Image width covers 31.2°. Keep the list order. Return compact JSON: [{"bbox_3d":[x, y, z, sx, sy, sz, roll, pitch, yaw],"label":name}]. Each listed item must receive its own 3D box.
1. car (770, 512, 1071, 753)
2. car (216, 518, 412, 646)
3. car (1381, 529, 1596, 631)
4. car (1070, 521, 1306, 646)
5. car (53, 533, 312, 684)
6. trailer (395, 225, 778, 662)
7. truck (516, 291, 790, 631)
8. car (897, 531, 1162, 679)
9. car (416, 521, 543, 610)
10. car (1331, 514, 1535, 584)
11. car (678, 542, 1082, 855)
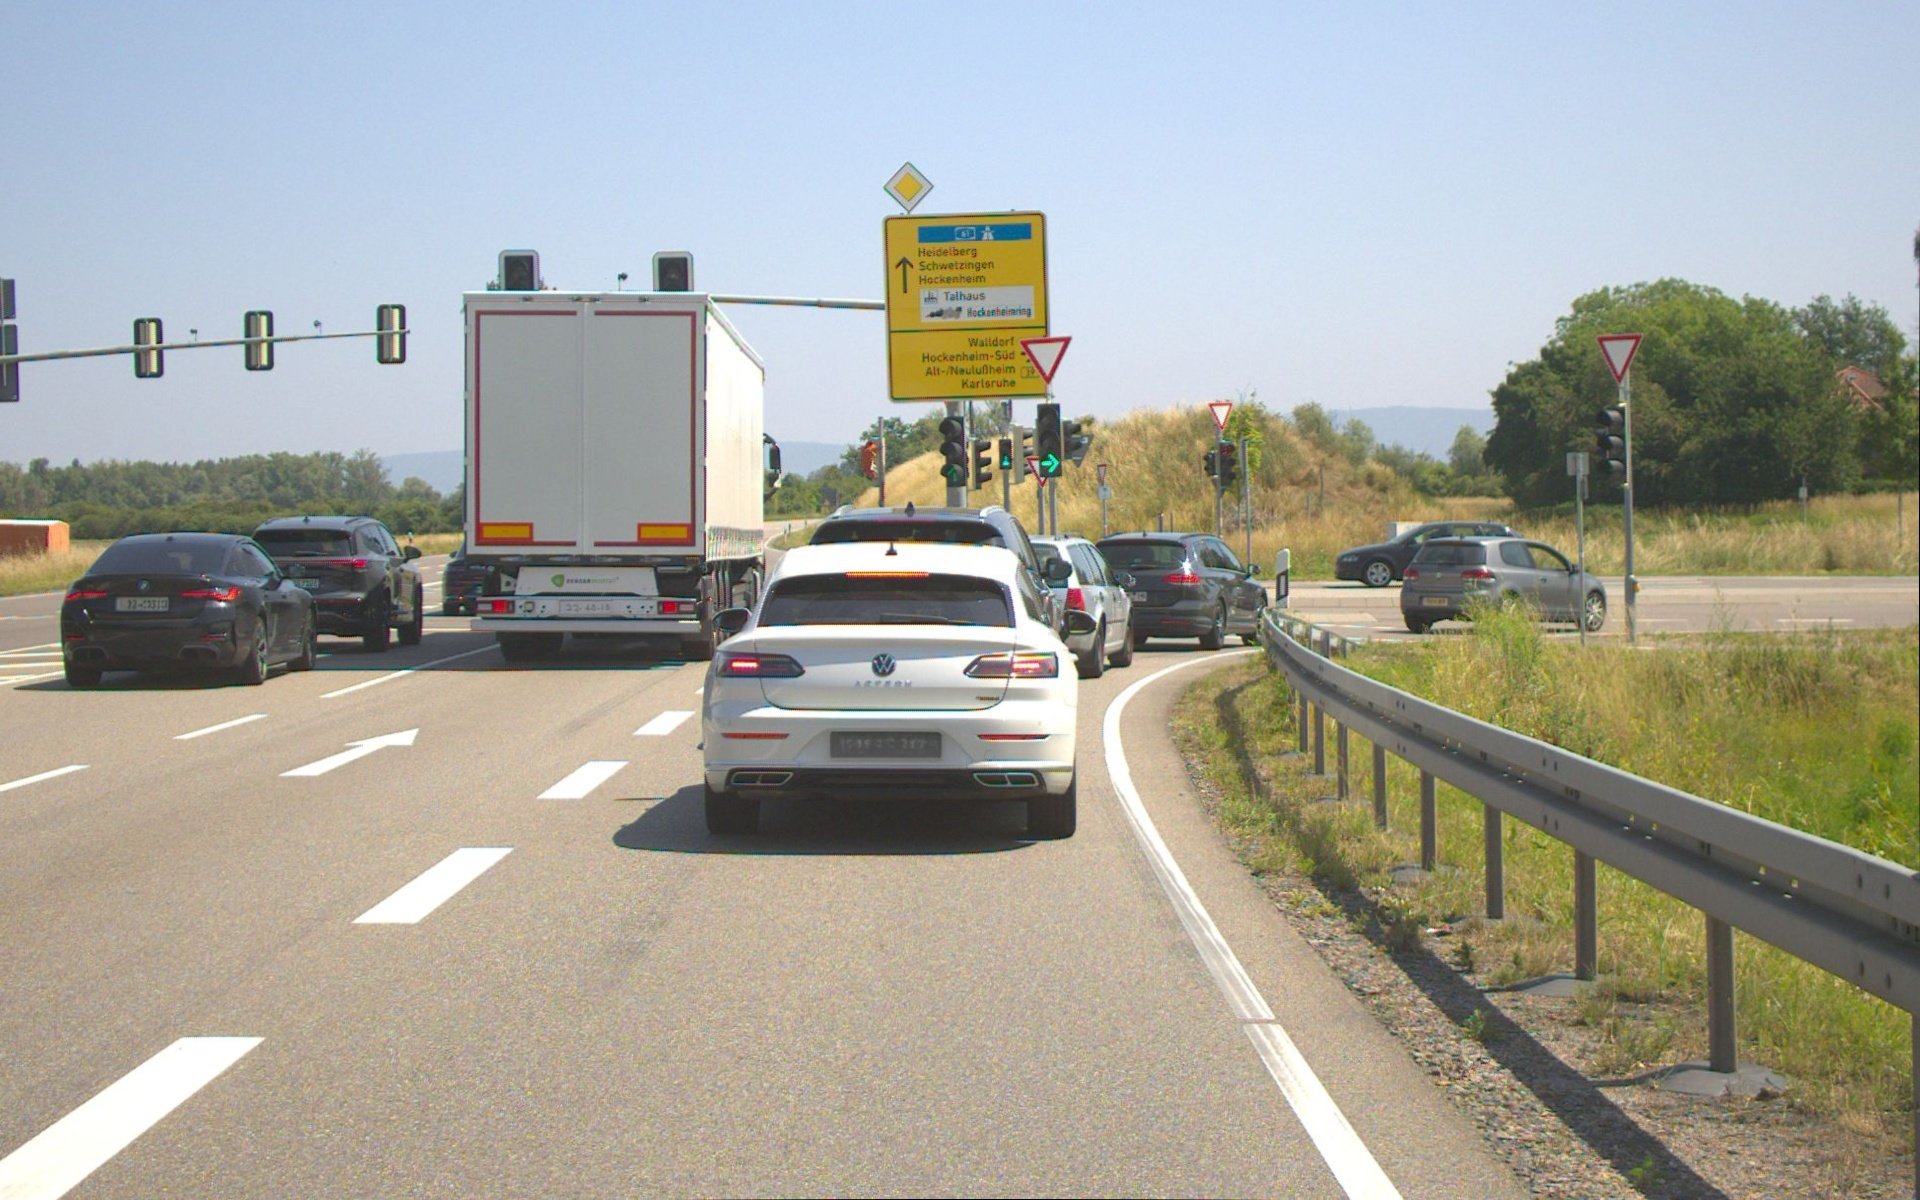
[{"bbox_3d":[-0.197,0.181,25.223,1.935,1.611,4.378,0,1,3],"label":"car"},{"bbox_3d":[-7.923,-0.249,42.462,1.809,1.488,4.022,0,1,-2],"label":"car"},{"bbox_3d":[8.239,-0.330,53.349,1.803,1.516,3.875,1,1,34],"label":"car"},{"bbox_3d":[2.908,-0.232,42.942,1.801,1.471,4.410,0,1,20],"label":"car"},{"bbox_3d":[-7.612,0.048,34.006,1.809,1.393,4.022,0,1,-2],"label":"car"},{"bbox_3d":[-4.237,-1.770,42.292,3.381,4.527,12.872,0,1,0],"label":"trailer"},{"bbox_3d":[-4.277,-1.935,49.275,3.381,4.527,6.373,0,1,0],"label":"truck"},{"bbox_3d":[0.783,0.013,35.219,1.801,1.424,4.090,0,1,15],"label":"car"},{"bbox_3d":[-8.313,-0.618,59.737,1.809,1.488,4.022,0,1,-2],"label":"car"},{"bbox_3d":[10.301,-1.128,75.085,4.260,1.364,1.776,-1,2,3],"label":"car"},{"bbox_3d":[-0.390,0.416,18.031,1.848,1.428,4.608,0,1,-1],"label":"car"}]
